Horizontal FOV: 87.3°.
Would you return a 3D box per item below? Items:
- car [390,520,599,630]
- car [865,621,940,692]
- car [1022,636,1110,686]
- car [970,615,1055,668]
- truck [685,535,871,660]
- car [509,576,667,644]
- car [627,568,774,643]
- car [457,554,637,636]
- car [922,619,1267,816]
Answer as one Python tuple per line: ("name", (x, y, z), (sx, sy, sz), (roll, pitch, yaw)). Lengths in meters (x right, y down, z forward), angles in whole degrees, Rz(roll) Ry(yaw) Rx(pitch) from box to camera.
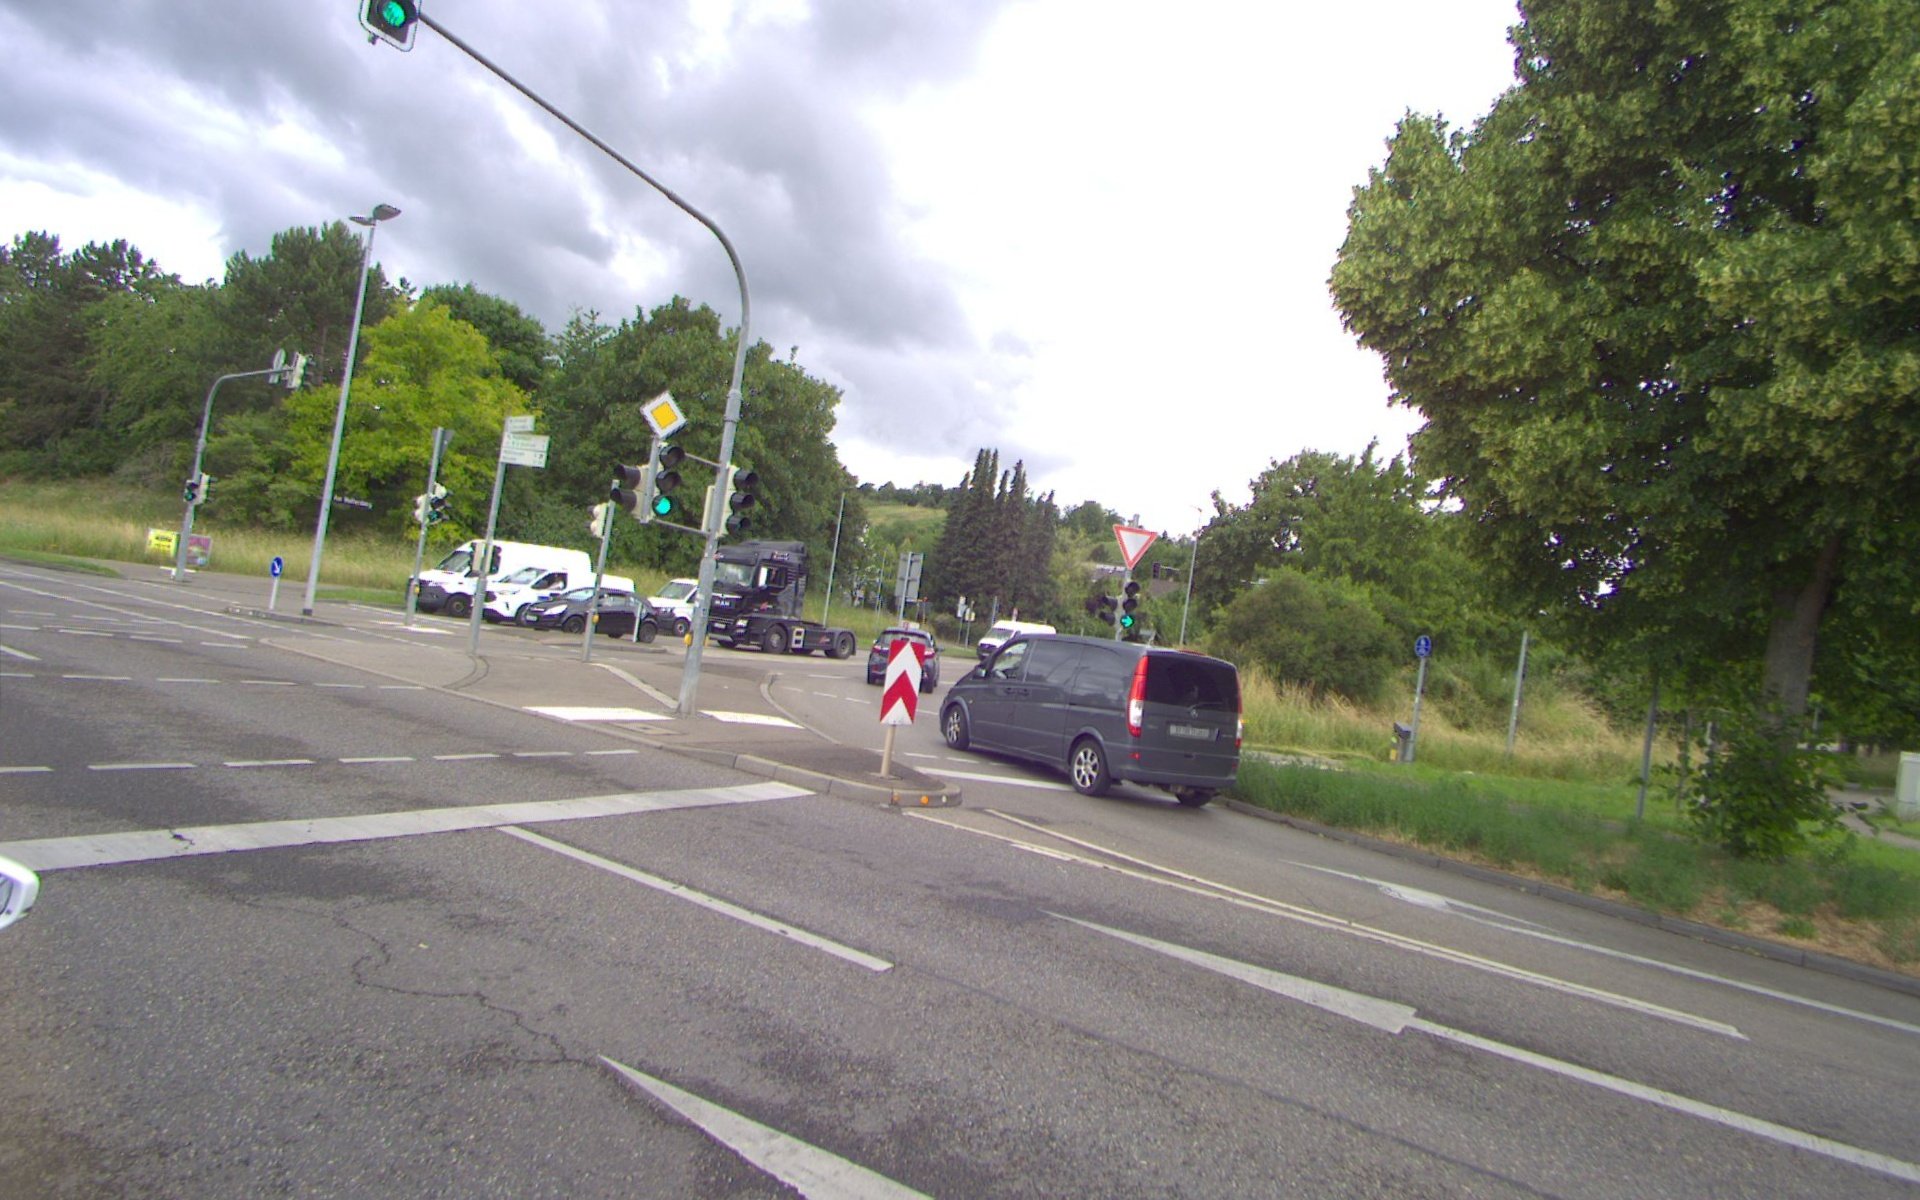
("car", (-15.334, -0.734, 33.588), (2.100, 2.814, 5.903), (7, -1, 32))
("car", (-1.508, 1.427, 25.824), (1.597, 1.446, 3.616), (10, -3, -4))
("car", (4.397, 2.538, 41.223), (1.754, 1.613, 4.453), (8, -1, 30))
("car", (3.363, 2.651, 62.397), (2.160, 2.640, 6.509), (7, -1, 32))
("truck", (-6.210, 0.027, 35.331), (2.682, 3.580, 6.061), (7, -1, 32))
("car", (-10.604, 0.337, 28.920), (1.703, 1.453, 3.927), (7, -1, 31))
("car", (-10.423, 0.292, 40.895), (2.100, 2.316, 5.709), (7, -1, 32))
("car", (-12.931, -0.093, 31.806), (1.999, 1.918, 4.862), (7, -1, 31))
("car", (1.551, 1.425, 13.491), (1.904, 1.852, 4.687), (12, -4, -30))
